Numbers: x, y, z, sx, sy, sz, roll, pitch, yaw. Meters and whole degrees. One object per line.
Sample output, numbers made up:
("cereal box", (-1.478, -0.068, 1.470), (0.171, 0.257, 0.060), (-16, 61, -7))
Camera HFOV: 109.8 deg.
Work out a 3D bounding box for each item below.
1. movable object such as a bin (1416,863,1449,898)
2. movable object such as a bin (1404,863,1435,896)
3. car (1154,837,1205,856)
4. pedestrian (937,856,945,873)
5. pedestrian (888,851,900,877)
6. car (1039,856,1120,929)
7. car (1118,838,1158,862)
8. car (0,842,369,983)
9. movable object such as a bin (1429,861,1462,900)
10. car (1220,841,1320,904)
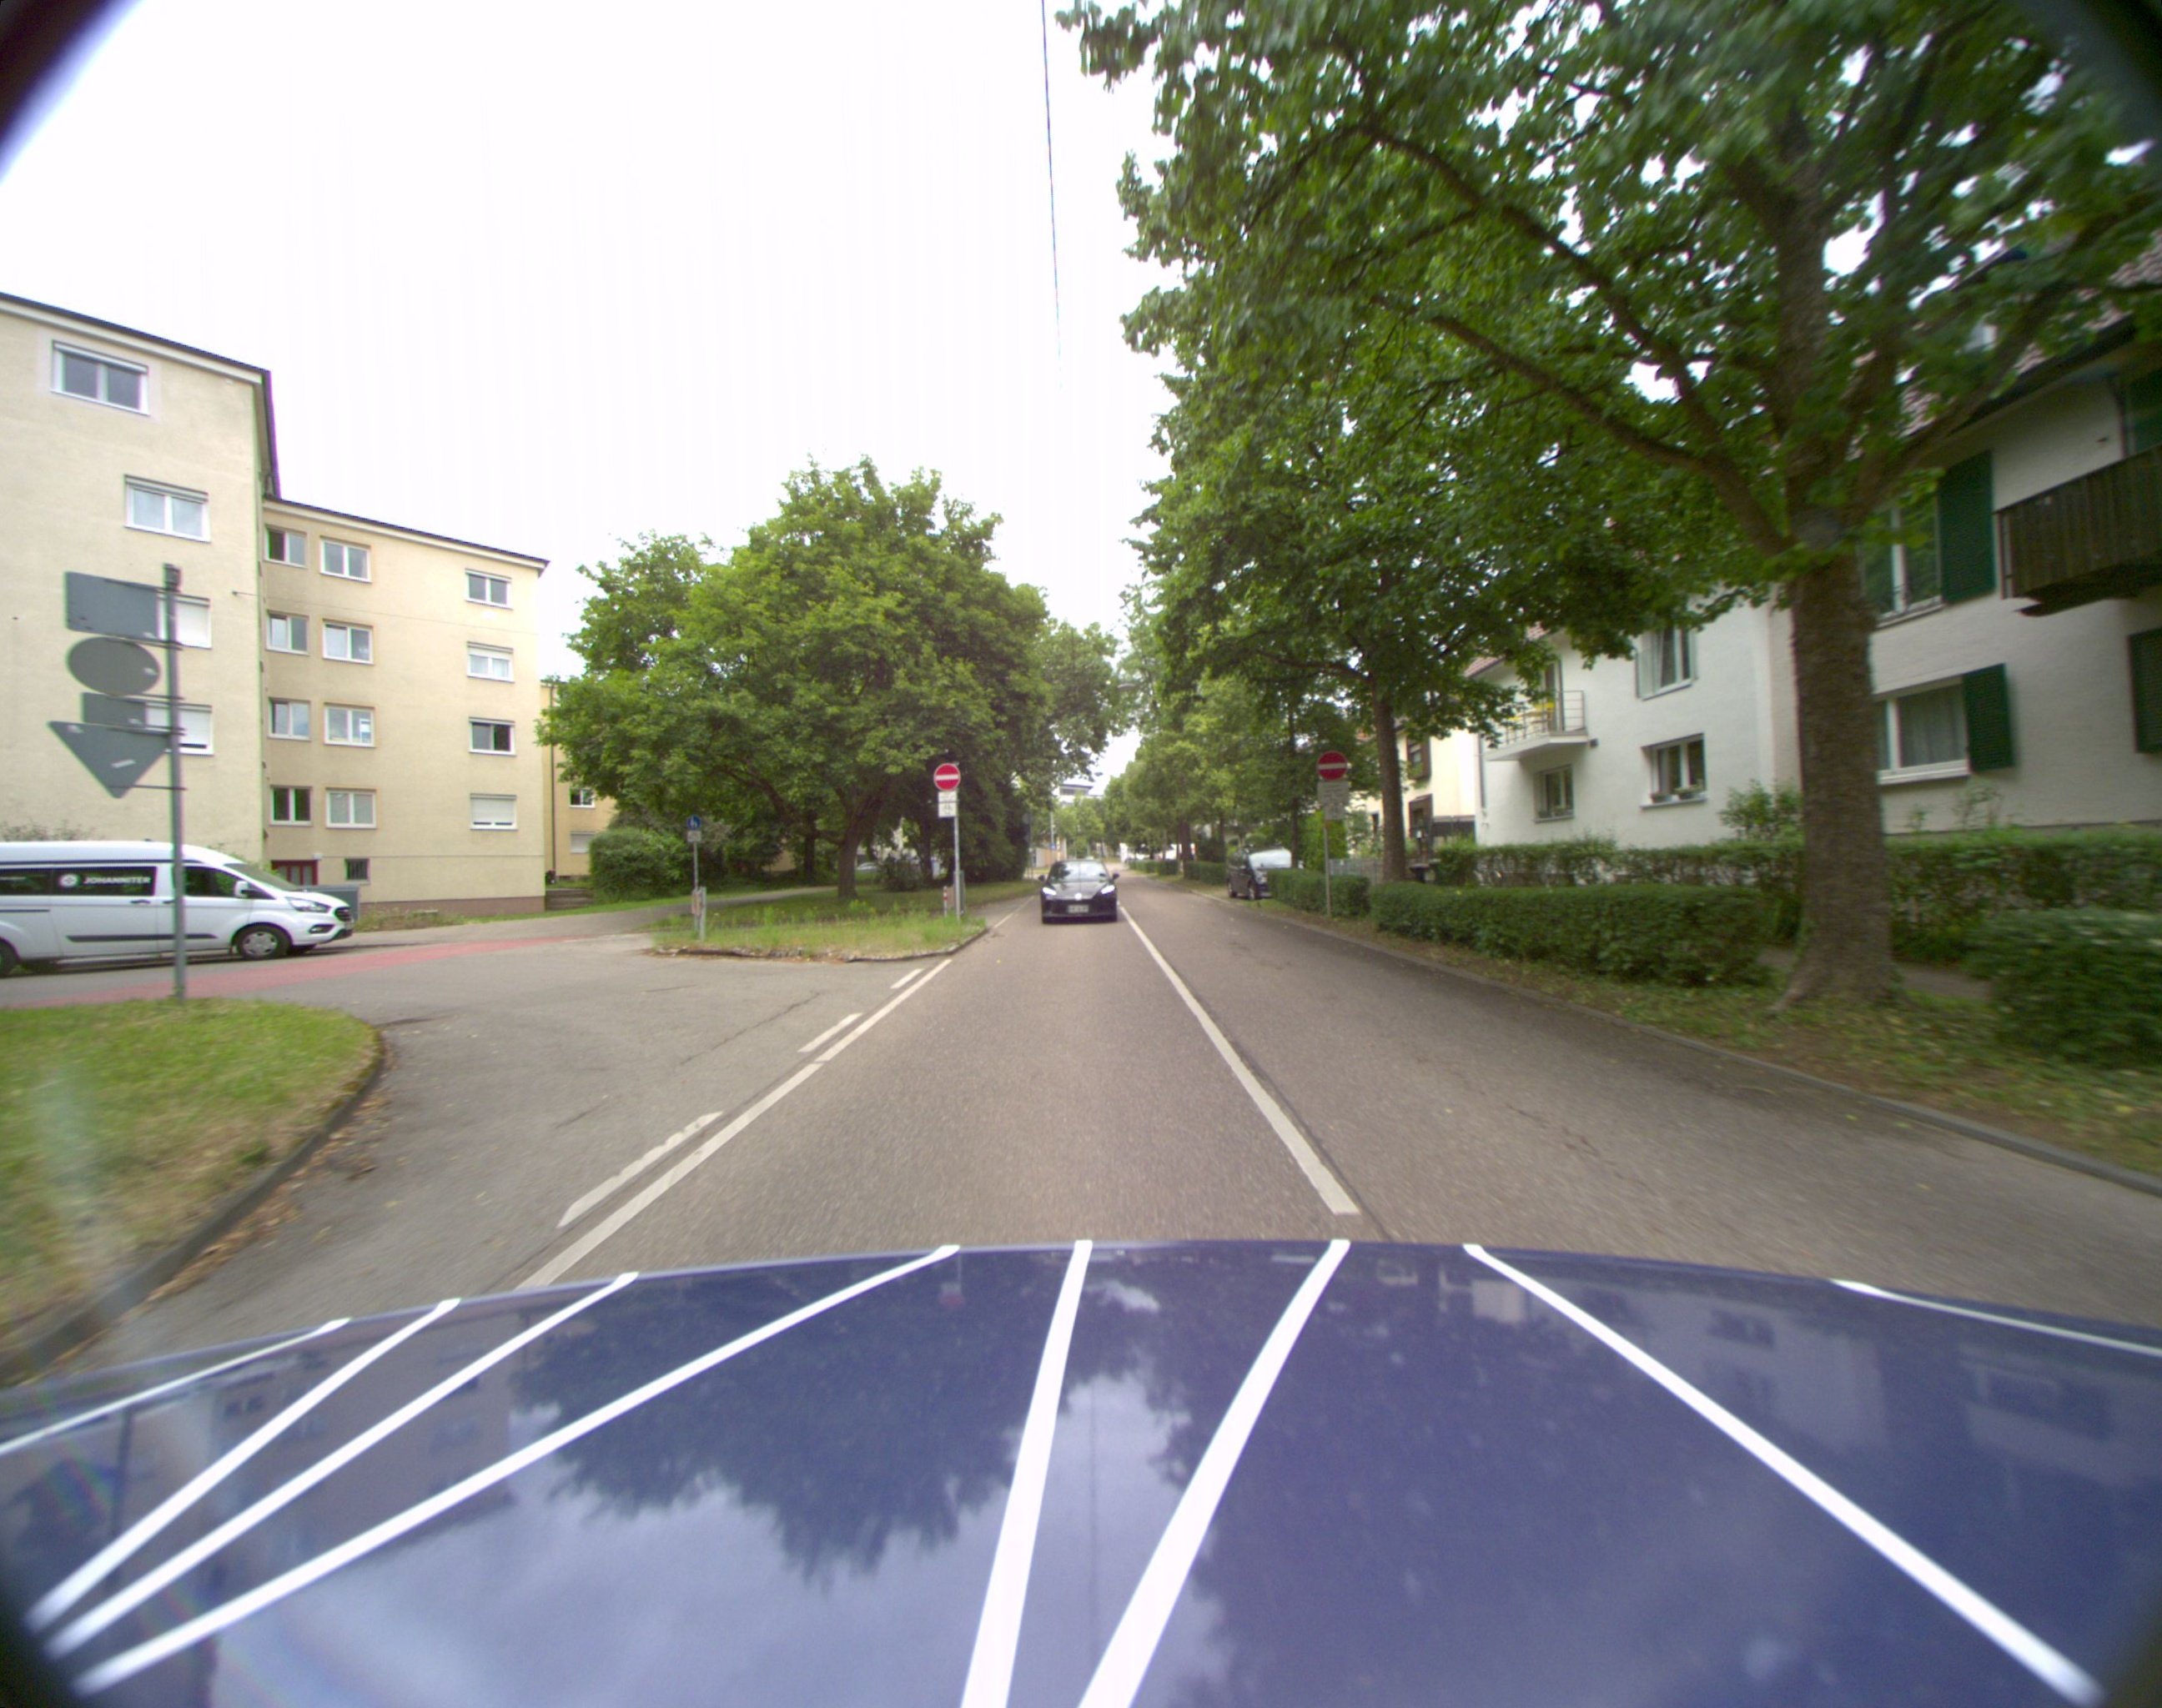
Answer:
("movable object such as a bin", (9.742, 0.728, 21.064), (0.561, 0.935, 0.640), (-1, 1, -5))
("movable object such as a bin", (9.680, 0.721, 21.736), (0.561, 0.935, 0.640), (-1, 1, -5))
("car", (13.037, -1.022, 100.422), (6.377, 2.334, 1.973), (-1, 0, -21))
("pedestrian", (-12.055, 0.906, 65.431), (0.650, 1.409, 0.649), (-1, 1, -10))
("pedestrian", (-12.186, 0.658, 49.441), (0.650, 1.652, 0.649), (-1, 1, -10))
("car", (-0.001, 0.884, 19.477), (1.799, 1.552, 4.471), (-2, 0, 1))
("car", (8.149, -0.547, 109.666), (2.440, 3.256, 7.776), (-2, 1, -22))
("car", (-17.462, 0.999, 14.428), (5.335, 2.285, 2.287), (-2, 0, -32))
("movable object such as a bin", (9.781, 0.694, 20.403), (0.561, 1.019, 0.601), (-1, 1, -5))
("car", (5.889, 0.523, 24.197), (1.830, 1.744, 4.452), (-2, 0, -3))
